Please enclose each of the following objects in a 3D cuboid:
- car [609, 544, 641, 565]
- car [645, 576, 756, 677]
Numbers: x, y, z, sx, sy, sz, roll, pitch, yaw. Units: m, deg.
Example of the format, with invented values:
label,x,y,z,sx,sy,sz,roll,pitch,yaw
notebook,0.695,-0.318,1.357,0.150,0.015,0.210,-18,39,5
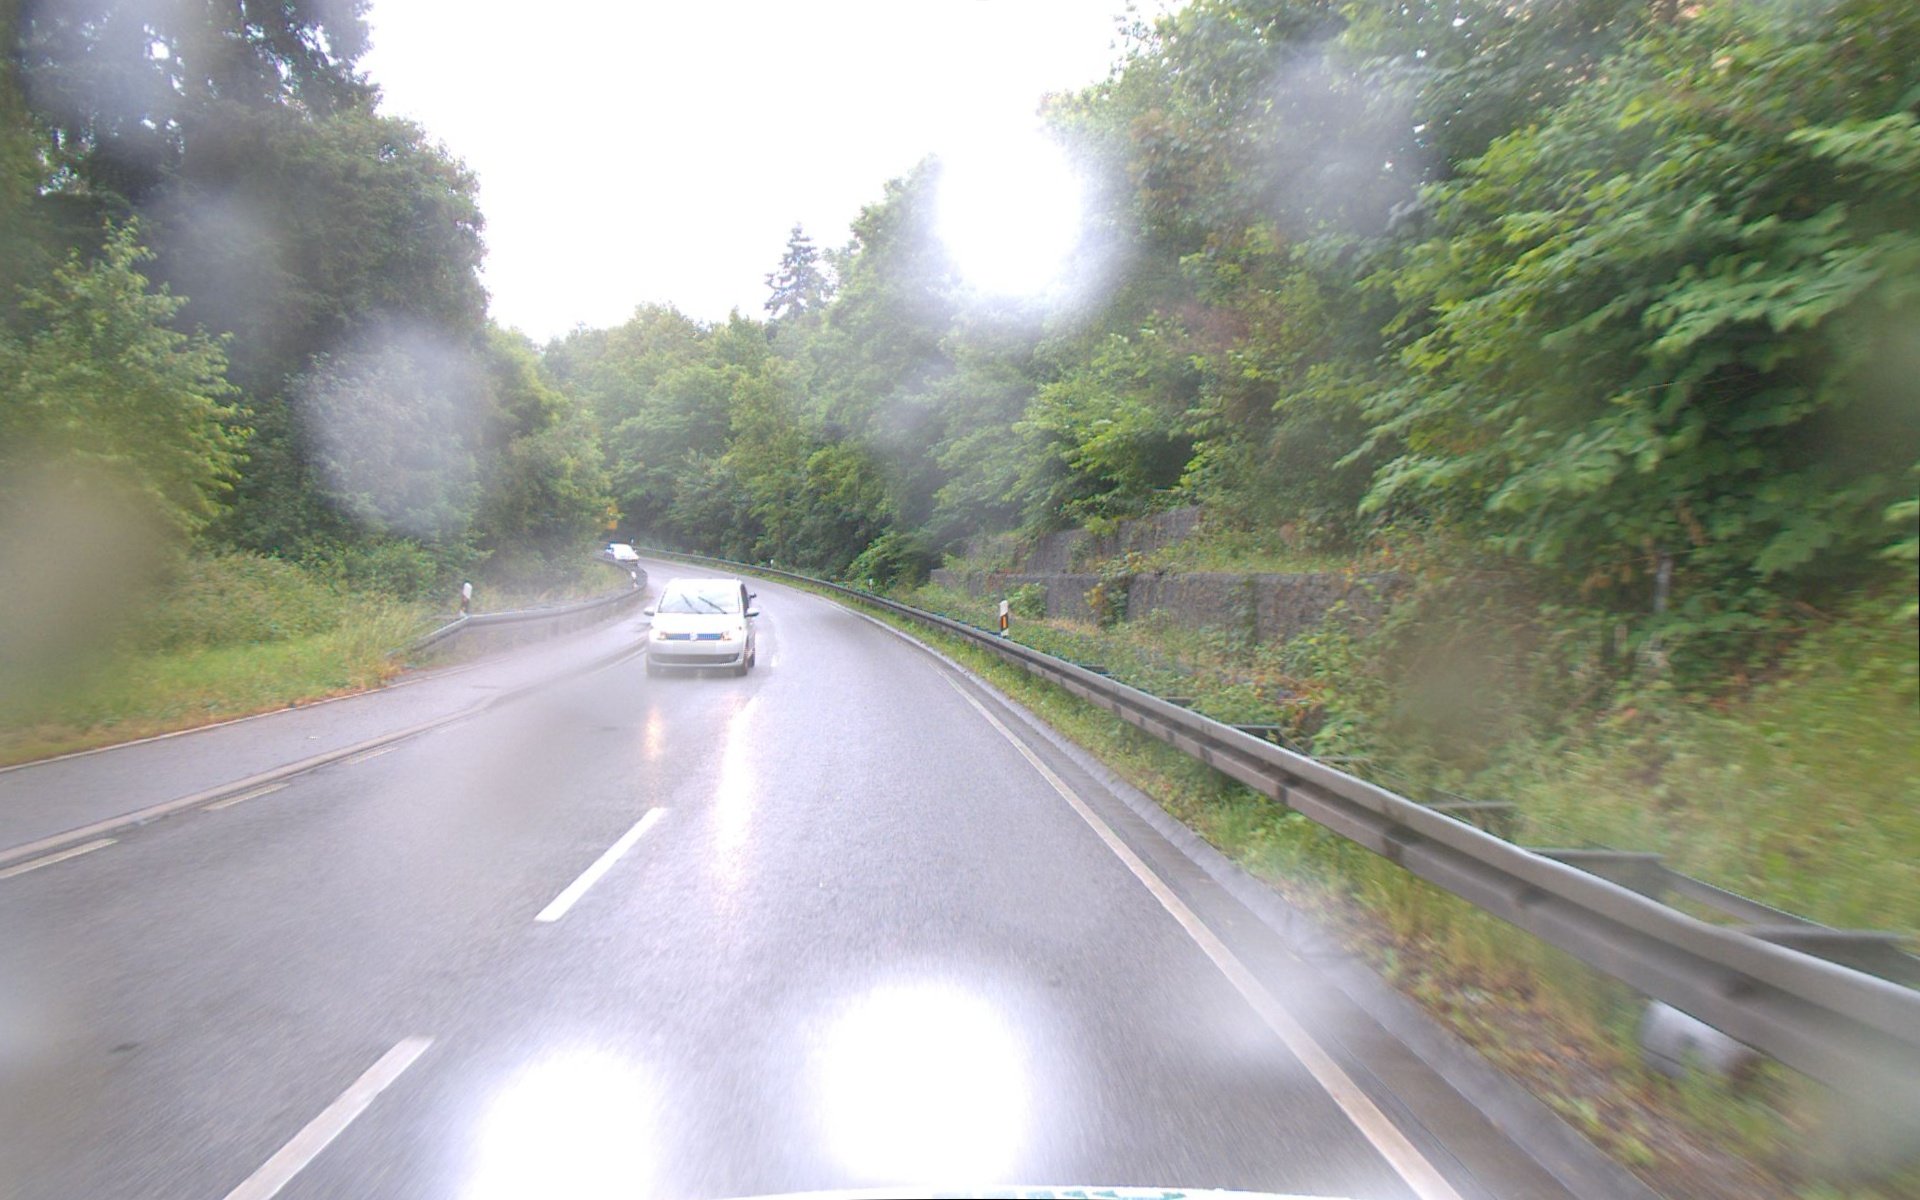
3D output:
label,x,y,z,sx,sy,sz,roll,pitch,yaw
car,-24.325,-3.312,119.915,1.574,1.434,3.400,1,0,-24
car,-4.615,0.441,29.862,1.779,1.676,4.125,1,0,-6
